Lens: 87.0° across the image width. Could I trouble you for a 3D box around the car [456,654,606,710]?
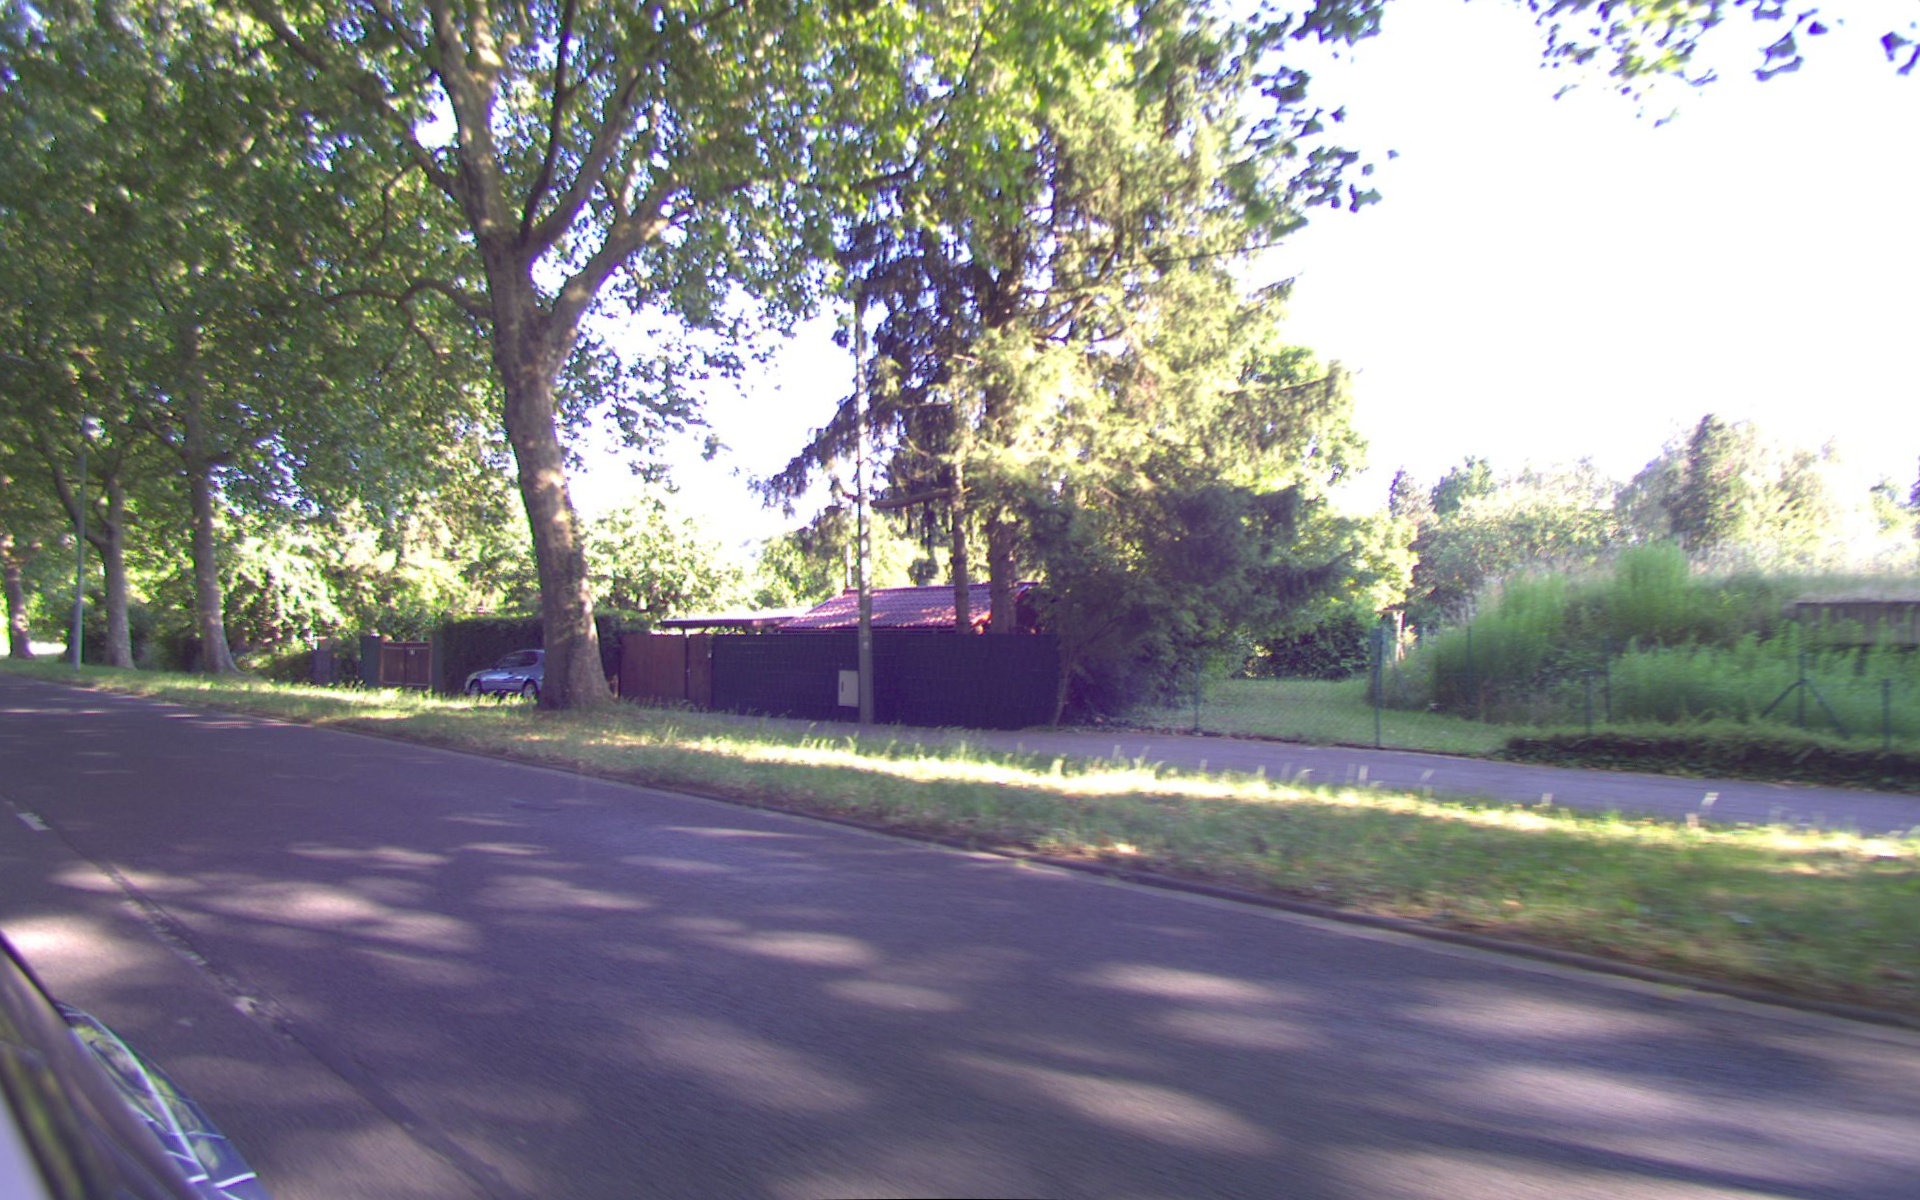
[{"bbox_3d":[-10.993,2.048,25.865,3.992,1.314,1.736,-3,-4,36],"label":"car"}]
